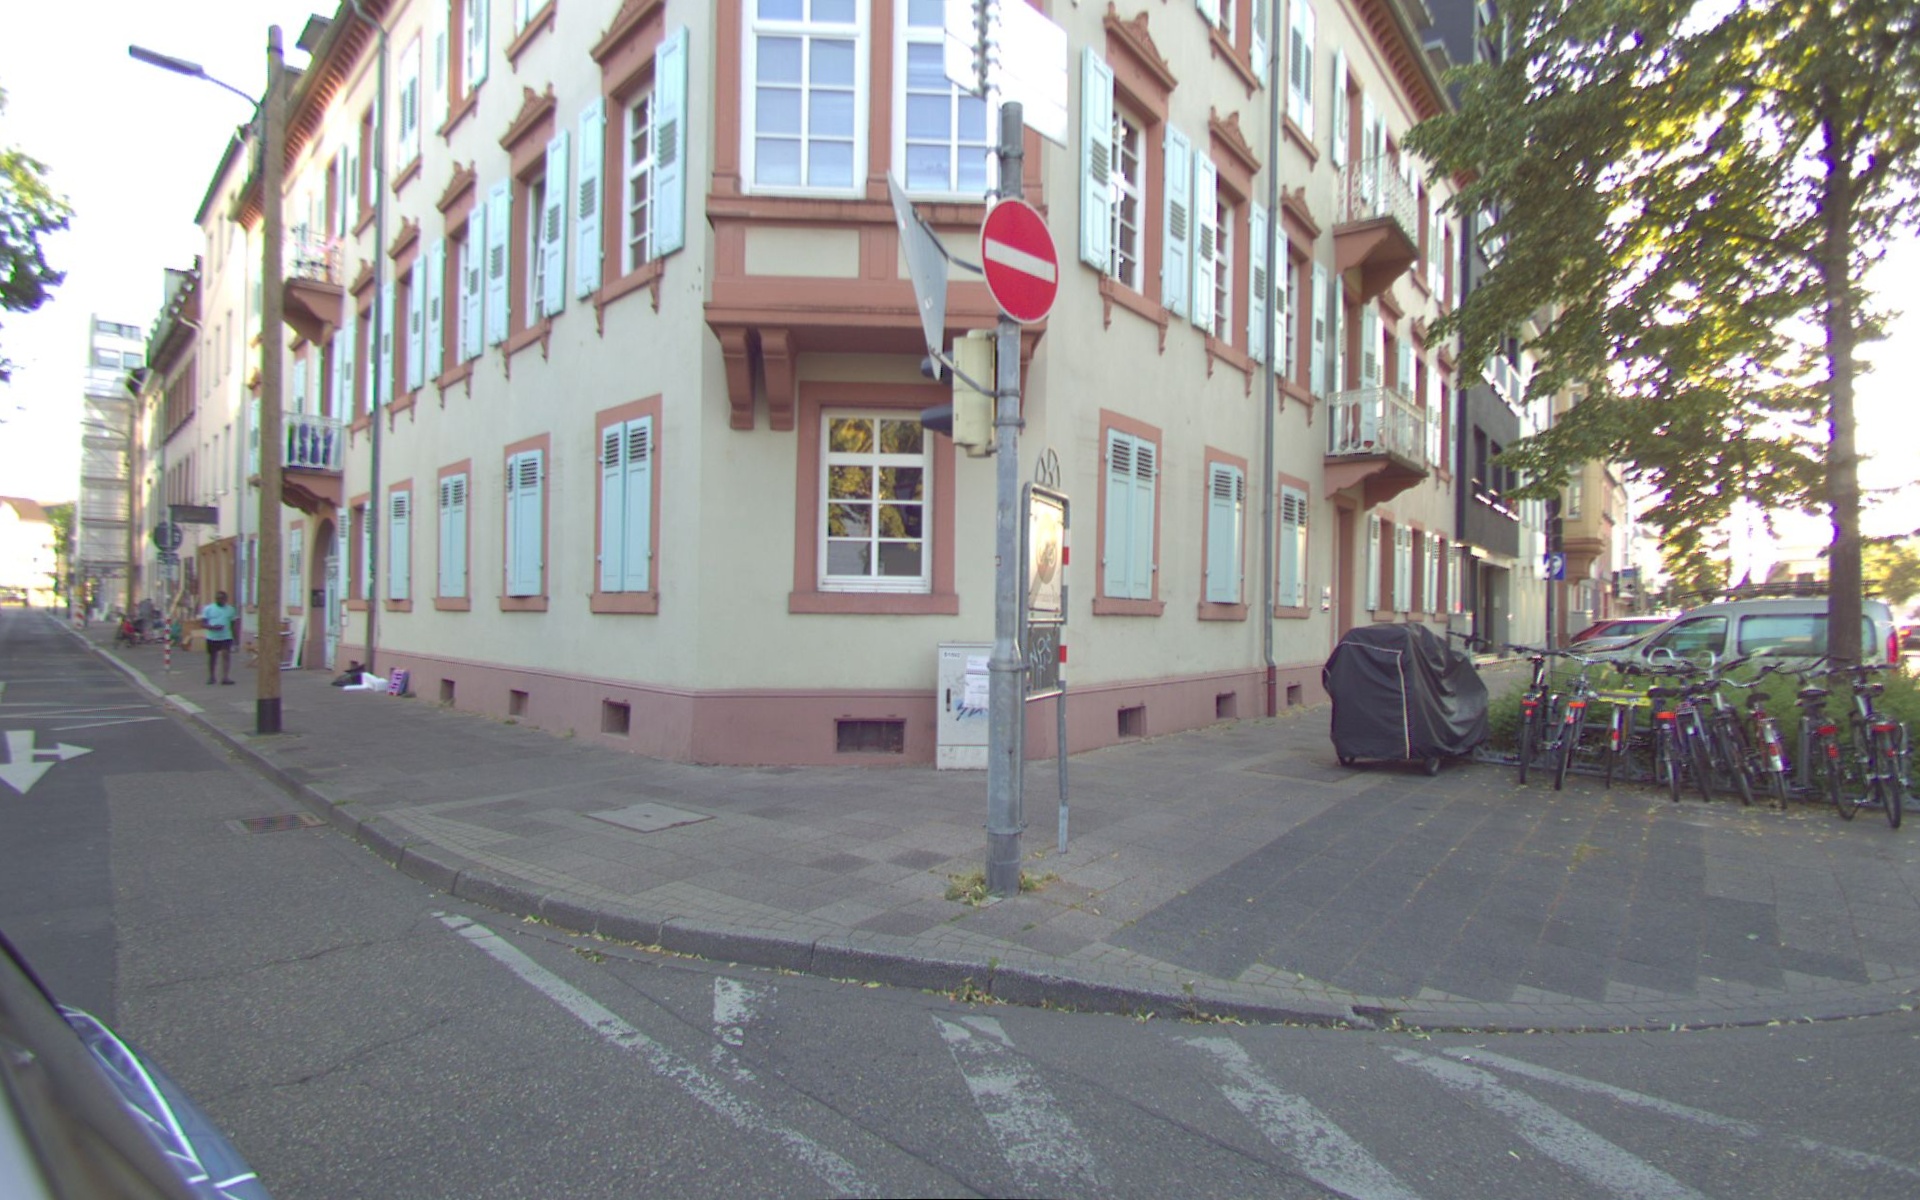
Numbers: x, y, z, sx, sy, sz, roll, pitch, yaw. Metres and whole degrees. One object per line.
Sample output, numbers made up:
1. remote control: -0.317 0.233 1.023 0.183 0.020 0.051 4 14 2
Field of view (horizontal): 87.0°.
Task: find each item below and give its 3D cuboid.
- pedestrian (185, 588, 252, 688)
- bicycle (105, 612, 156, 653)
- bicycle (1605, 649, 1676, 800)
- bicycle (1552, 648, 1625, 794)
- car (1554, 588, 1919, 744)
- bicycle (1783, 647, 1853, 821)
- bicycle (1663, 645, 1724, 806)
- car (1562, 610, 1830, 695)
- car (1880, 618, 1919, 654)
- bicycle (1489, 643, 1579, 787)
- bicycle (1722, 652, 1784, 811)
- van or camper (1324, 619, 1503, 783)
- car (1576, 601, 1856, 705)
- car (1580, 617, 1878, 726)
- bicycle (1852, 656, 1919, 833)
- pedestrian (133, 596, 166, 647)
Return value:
1. pedestrian: -13.250 0.655 18.084 0.649 1.709 0.814 -1 1 45
2. bicycle: -24.941 0.957 30.451 0.649 1.179 1.613 0 0 -18
3. bicycle: 5.585 0.965 8.283 0.341 1.090 1.575 0 -1 39
4. bicycle: 5.284 0.960 8.477 0.323 1.090 1.575 0 -1 39
5. car: 10.565 0.809 14.011 3.821 1.863 1.677 0 -1 41
6. bicycle: 6.505 0.960 7.704 0.331 1.149 1.575 2 0 39
7. bicycle: 5.896 0.946 8.110 0.312 1.157 1.591 0 -2 39
8. car: 14.617 0.981 20.397 4.210 1.528 1.742 0 -1 34
9. car: 46.812 1.763 49.625 1.998 1.667 4.615 2 0 37
10. bicycle: 4.978 0.938 8.743 0.396 1.090 1.575 2 0 39
11. bicycle: 6.281 0.987 8.005 0.319 1.090 1.575 2 0 39
12. van or camper: 4.086 0.831 9.041 0.944 1.269 1.820 1 0 41
13. car: 13.372 0.872 18.062 3.835 1.597 1.718 1 -1 40
14. car: 12.177 1.043 16.171 3.661 1.526 1.626 0 -1 42
15. bicycle: 6.823 0.996 7.354 0.396 1.116 1.690 2 0 39
16. pedestrian: -27.713 0.733 34.599 0.814 1.709 0.649 0 -1 -45
